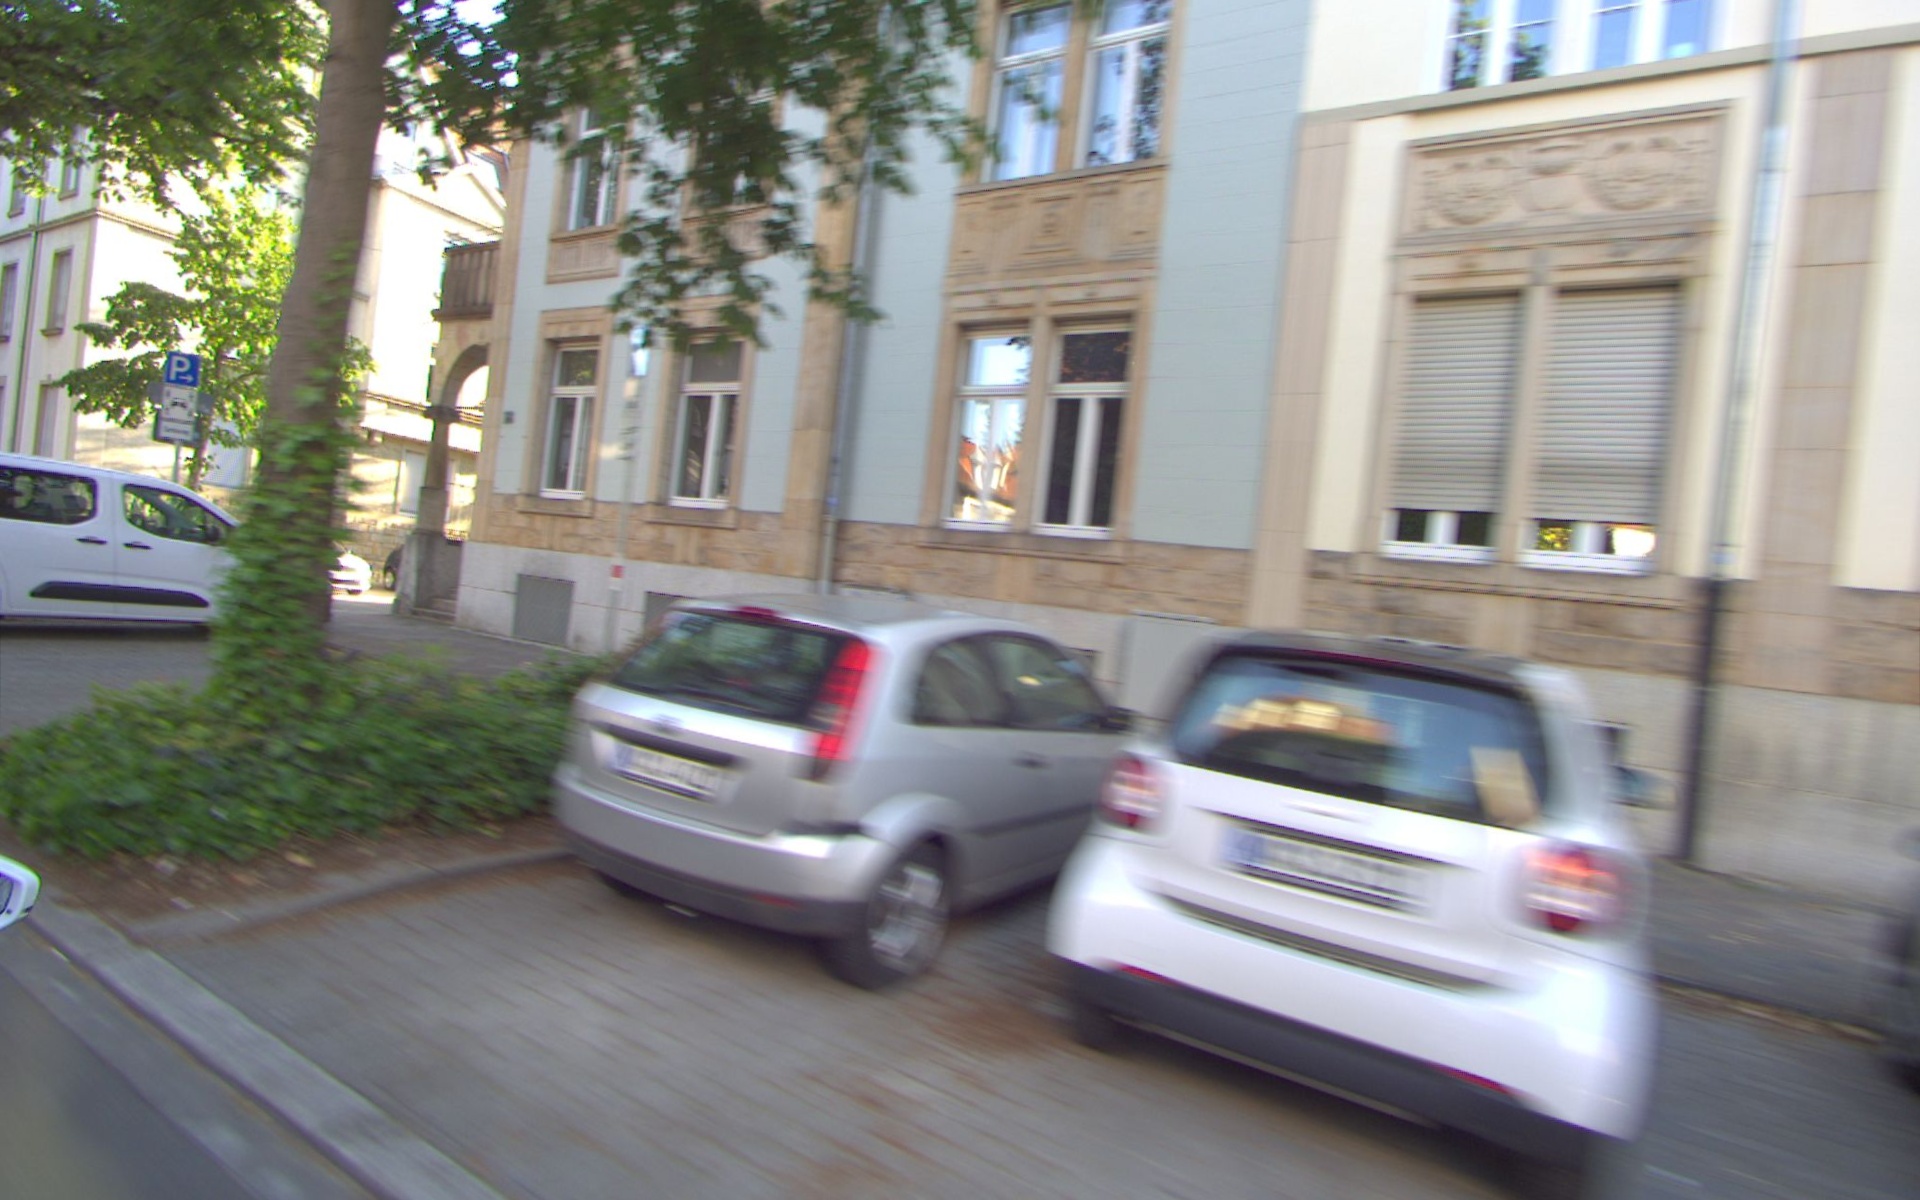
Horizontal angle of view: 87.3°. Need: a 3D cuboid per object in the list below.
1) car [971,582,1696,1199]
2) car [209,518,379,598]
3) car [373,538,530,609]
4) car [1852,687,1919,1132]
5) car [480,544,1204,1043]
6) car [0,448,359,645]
[{"bbox_3d":[1.984,0.911,4.701,1.798,1.554,4.317,7,1,31],"label":"car"},{"bbox_3d":[-16.572,-1.063,24.984,4.394,1.426,1.786,8,0,32],"label":"car"},{"bbox_3d":[-14.391,-0.763,28.406,4.454,1.426,1.846,8,0,32],"label":"car"},{"bbox_3d":[3.682,1.136,2.343,1.659,1.554,4.145,7,1,33],"label":"car"},{"bbox_3d":[-0.208,0.688,5.257,1.705,1.481,3.750,7,1,31],"label":"car"},{"bbox_3d":[-9.386,-0.569,11.010,1.967,1.830,4.317,7,1,31],"label":"car"}]
